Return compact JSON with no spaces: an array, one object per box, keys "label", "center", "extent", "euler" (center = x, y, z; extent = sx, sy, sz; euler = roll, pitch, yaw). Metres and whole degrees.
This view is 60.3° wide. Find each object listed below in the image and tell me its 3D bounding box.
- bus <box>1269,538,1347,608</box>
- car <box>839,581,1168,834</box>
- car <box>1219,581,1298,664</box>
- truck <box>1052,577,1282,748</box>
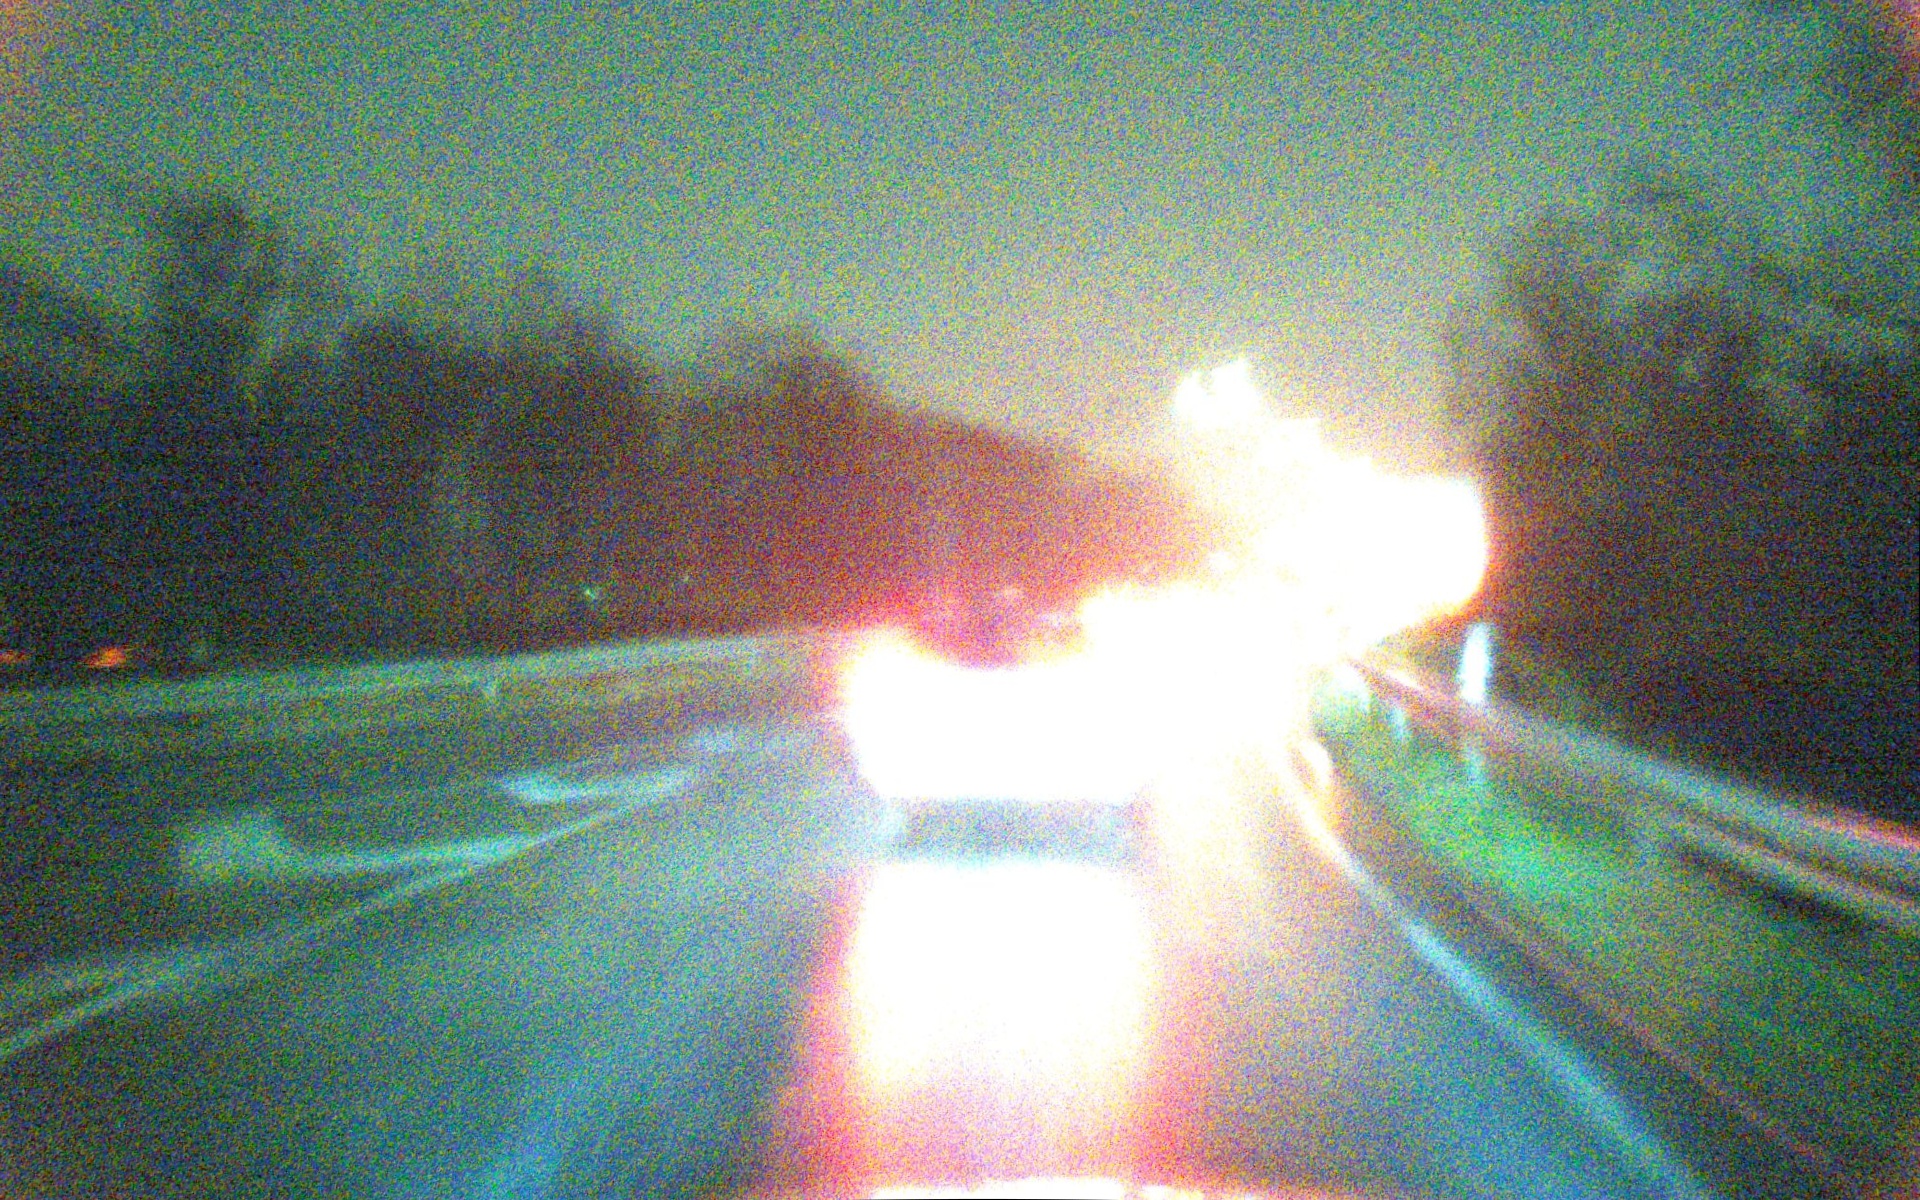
[{"label":"bus","center":[16.916,-1.313,79.895],"extent":[2.686,3.178,9.206],"euler":[0,1,18]},{"label":"car","center":[0.480,0.661,11.893],"extent":[1.903,1.517,3.719],"euler":[-1,0,8]},{"label":"car","center":[7.552,0.553,41.610],"extent":[1.797,1.982,4.003],"euler":[0,-1,13]},{"label":"truck","center":[3.809,0.971,28.725],"extent":[3.004,2.573,7.171],"euler":[0,-1,15]}]
